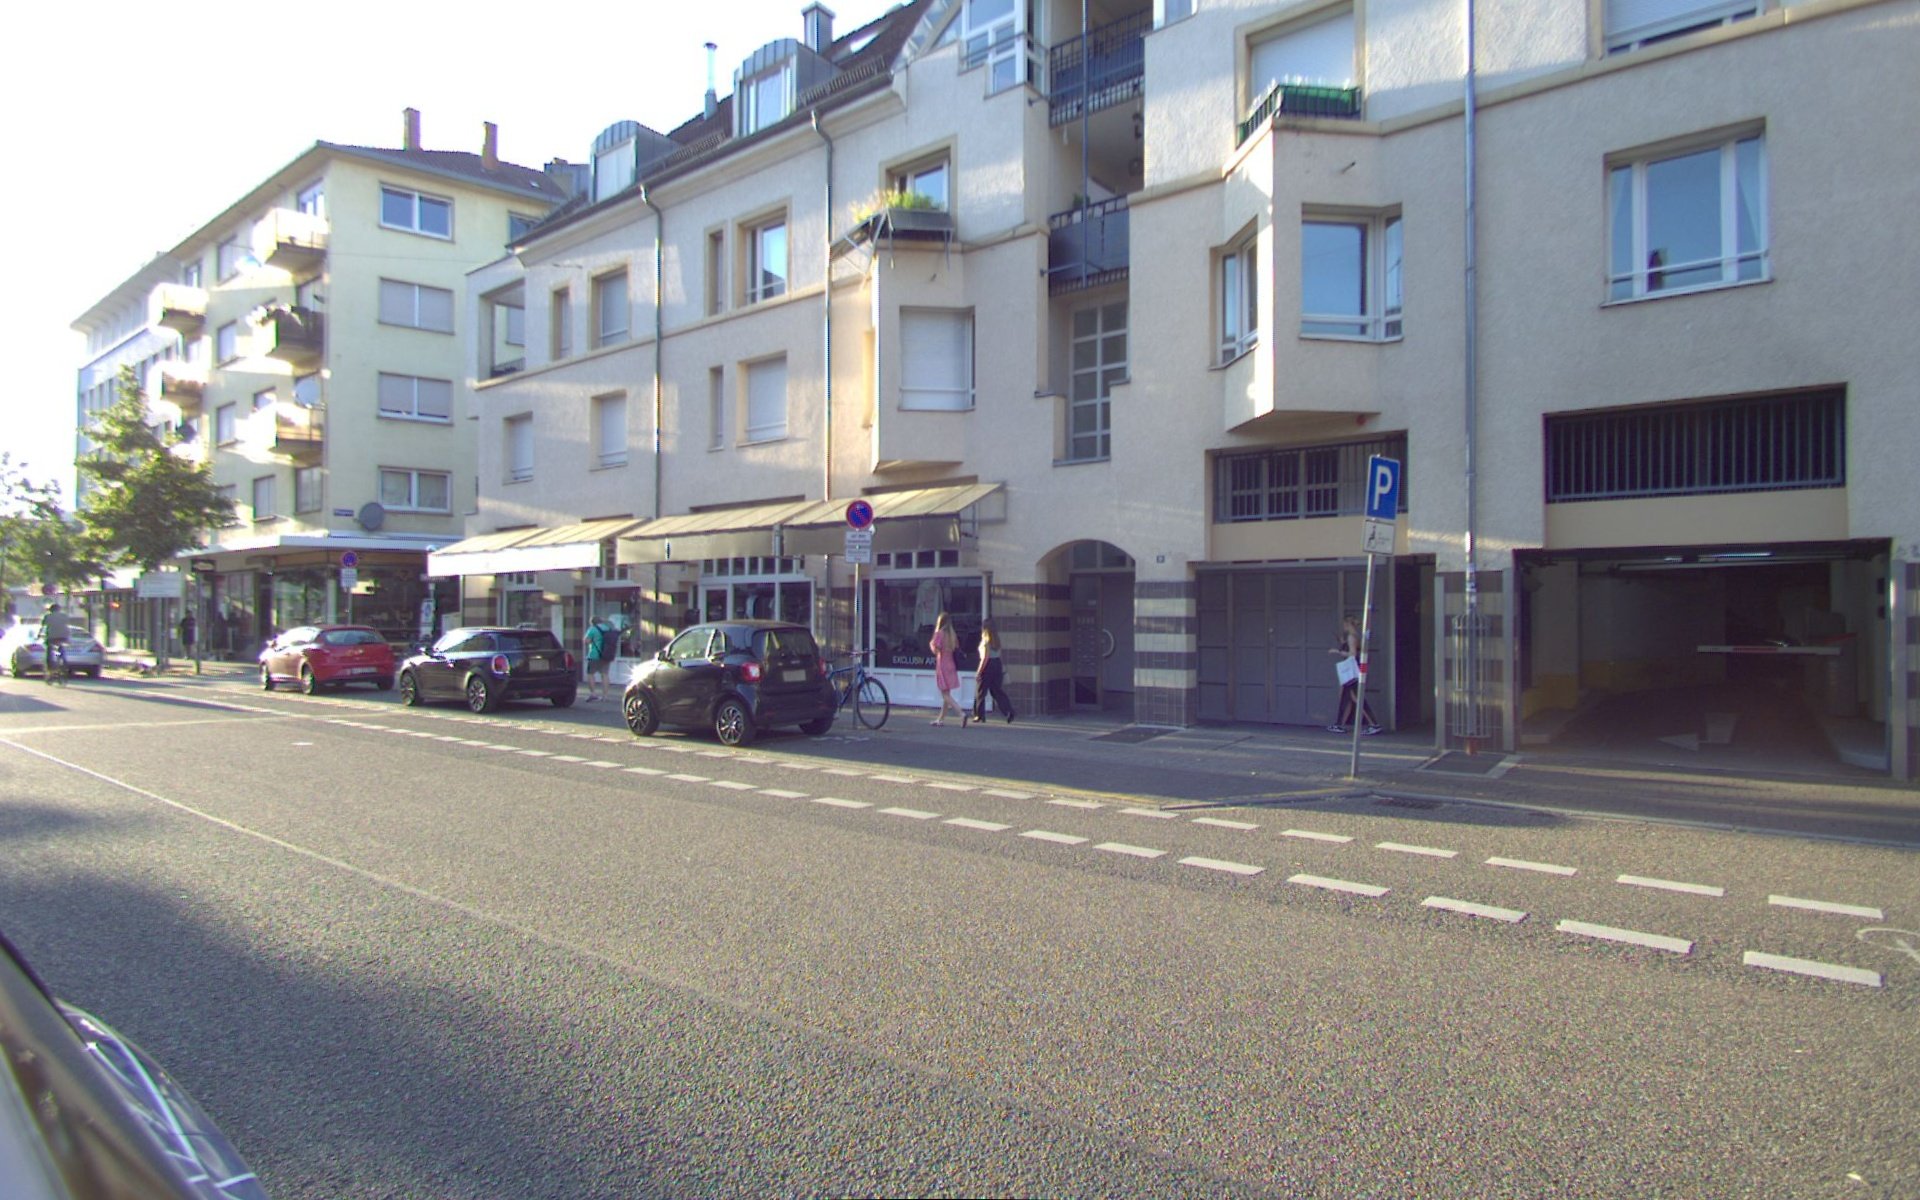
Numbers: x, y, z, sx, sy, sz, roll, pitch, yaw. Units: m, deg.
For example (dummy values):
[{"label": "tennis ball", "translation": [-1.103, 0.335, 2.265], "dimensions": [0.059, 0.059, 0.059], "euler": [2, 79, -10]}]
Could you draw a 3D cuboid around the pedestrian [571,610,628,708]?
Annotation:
[{"label": "pedestrian", "translation": [-6.626, 1.055, 18.591], "dimensions": [0.737, 1.747, 0.711], "euler": [-1, -1, 38]}]

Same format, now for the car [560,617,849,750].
[{"label": "car", "translation": [-3.602, 1.044, 14.024], "dimensions": [3.959, 1.592, 1.773], "euler": [-1, -2, 36]}]

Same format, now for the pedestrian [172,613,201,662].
[{"label": "pedestrian", "translation": [-28.956, 1.379, 37.883], "dimensions": [0.666, 1.805, 0.711], "euler": [-1, -1, 39]}]

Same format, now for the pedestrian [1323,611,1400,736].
[{"label": "pedestrian", "translation": [5.214, 0.939, 13.170], "dimensions": [0.768, 1.584, 0.533], "euler": [0, -2, 2]}]

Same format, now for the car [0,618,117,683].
[{"label": "car", "translation": [-24.844, 1.337, 27.522], "dimensions": [4.397, 1.617, 1.975], "euler": [-1, -3, 37]}]

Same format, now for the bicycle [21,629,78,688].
[{"label": "bicycle", "translation": [-20.196, 1.275, 22.437], "dimensions": [2.129, 1.252, 0.656], "euler": [-1, -4, 42]}]

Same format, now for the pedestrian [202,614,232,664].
[{"label": "pedestrian", "translation": [-27.035, 1.401, 36.835], "dimensions": [0.666, 1.805, 0.711], "euler": [-1, -1, 39]}]

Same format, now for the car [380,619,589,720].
[{"label": "car", "translation": [-8.489, 1.148, 17.984], "dimensions": [3.780, 1.592, 1.773], "euler": [-1, -2, 36]}]

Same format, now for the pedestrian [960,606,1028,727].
[{"label": "pedestrian", "translation": [0.492, 0.952, 14.802], "dimensions": [0.830, 1.713, 0.554], "euler": [-1, -2, 38]}]

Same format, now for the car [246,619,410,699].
[{"label": "car", "translation": [-13.936, 1.229, 22.261], "dimensions": [3.780, 1.592, 1.773], "euler": [-1, -2, 36]}]

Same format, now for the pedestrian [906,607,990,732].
[{"label": "pedestrian", "translation": [-0.172, 0.970, 14.455], "dimensions": [1.039, 1.713, 0.624], "euler": [-1, -2, 38]}]

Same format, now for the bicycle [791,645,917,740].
[{"label": "bicycle", "translation": [-1.517, 1.255, 14.248], "dimensions": [1.976, 1.215, 0.552], "euler": [-1, -2, 41]}]

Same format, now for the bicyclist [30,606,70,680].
[{"label": "bicyclist", "translation": [-19.989, 0.929, 22.225], "dimensions": [0.802, 1.593, 0.541], "euler": [-1, -2, 41]}]
